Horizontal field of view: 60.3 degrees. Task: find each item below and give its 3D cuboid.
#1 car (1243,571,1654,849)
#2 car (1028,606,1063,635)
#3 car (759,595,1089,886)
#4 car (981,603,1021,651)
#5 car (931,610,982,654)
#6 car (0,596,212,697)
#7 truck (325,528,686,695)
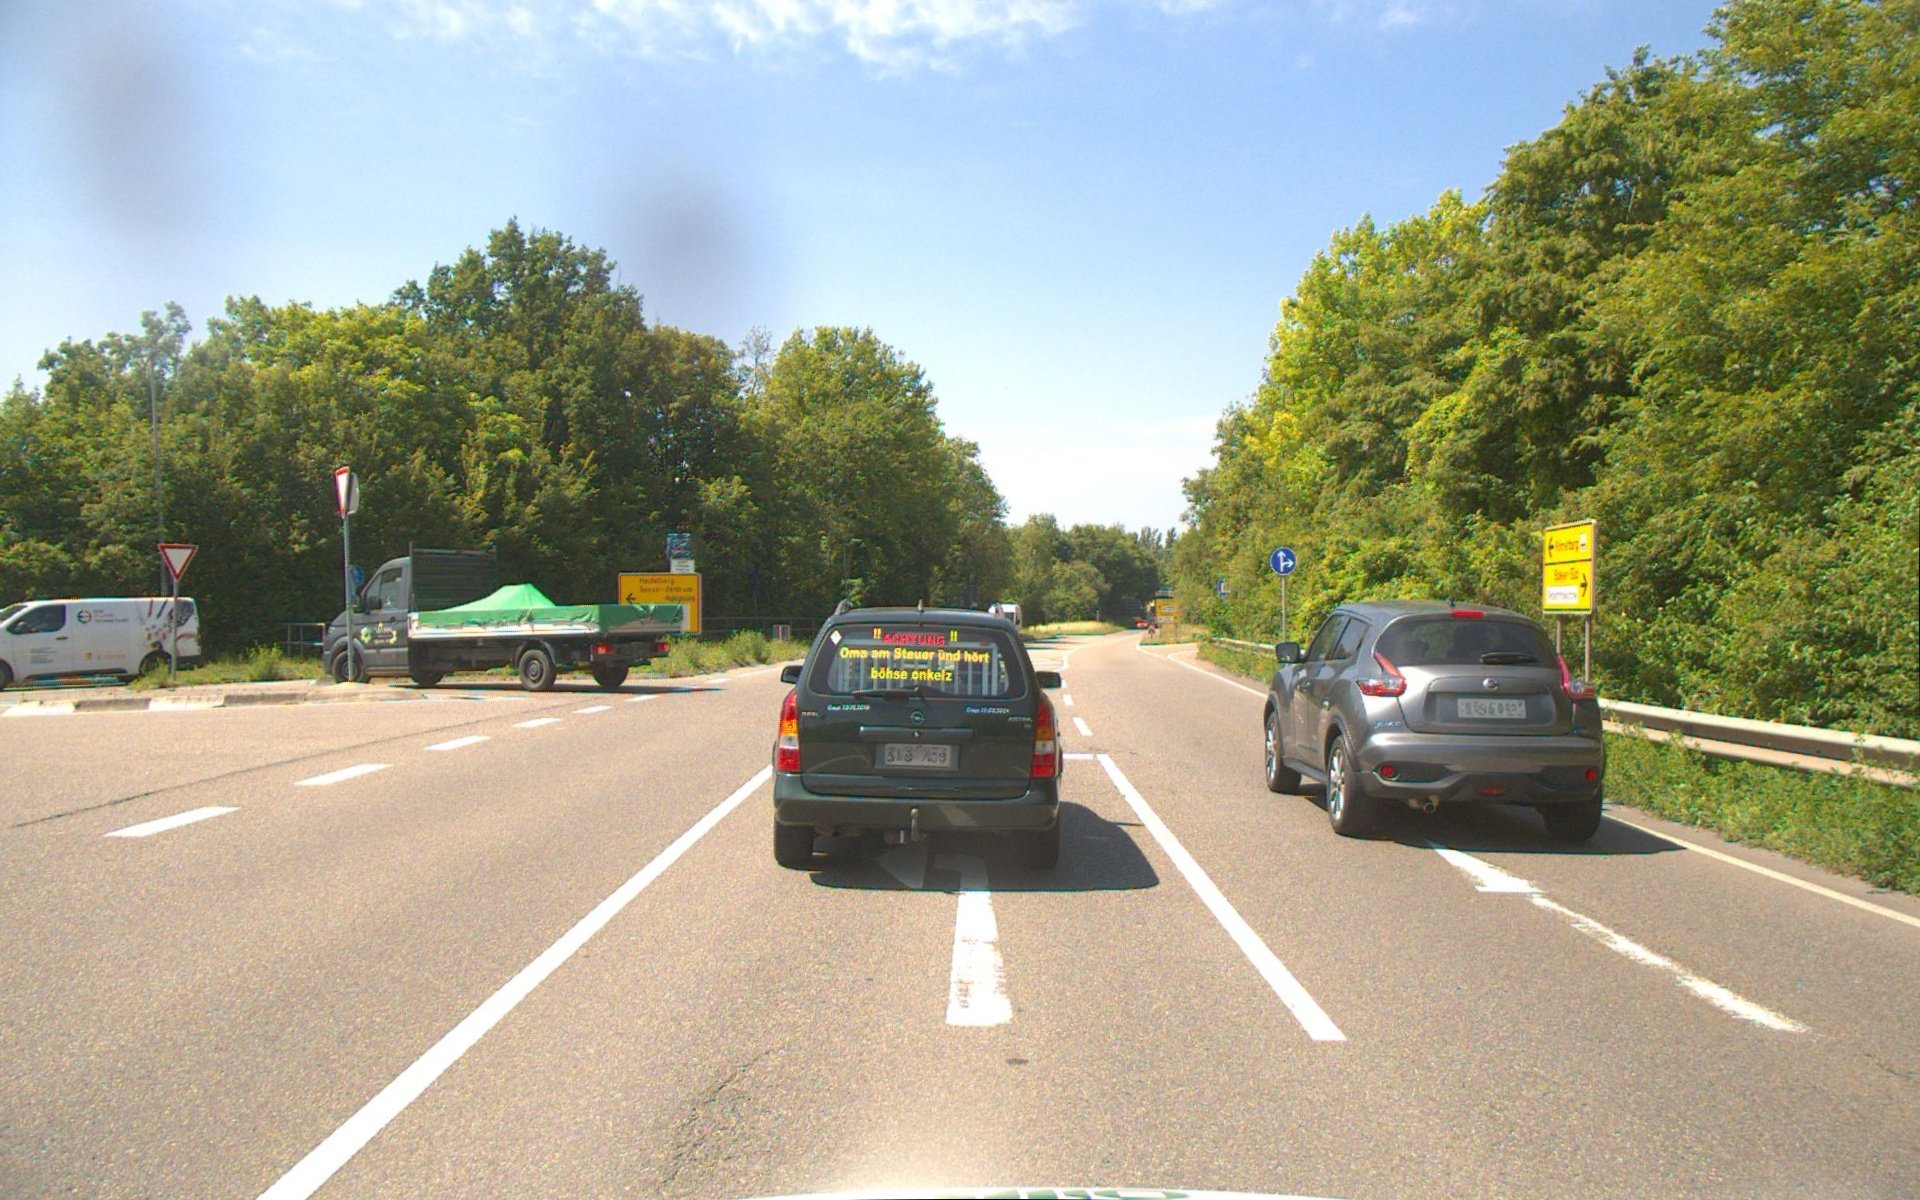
[{"bbox_3d":[3.372,0.673,12.247,1.806,1.714,3.999,0,0,-1],"label":"car"},{"bbox_3d":[9.871,2.295,190.727,1.970,3.282,4.767,0,0,-27],"label":"car"},{"bbox_3d":[-0.182,0.721,10.457,1.685,1.482,3.797,1,0,0],"label":"car"},{"bbox_3d":[2.612,1.678,104.095,2.061,2.900,6.015,1,-1,5],"label":"car"},{"bbox_3d":[-0.097,1.099,58.005,1.610,1.443,3.767,1,0,2],"label":"car"},{"bbox_3d":[-19.317,0.958,36.020,1.982,1.957,5.161,1,2,43],"label":"car"},{"bbox_3d":[-7.915,0.214,28.508,6.495,2.610,2.141,-1,-1,31],"label":"truck"}]
